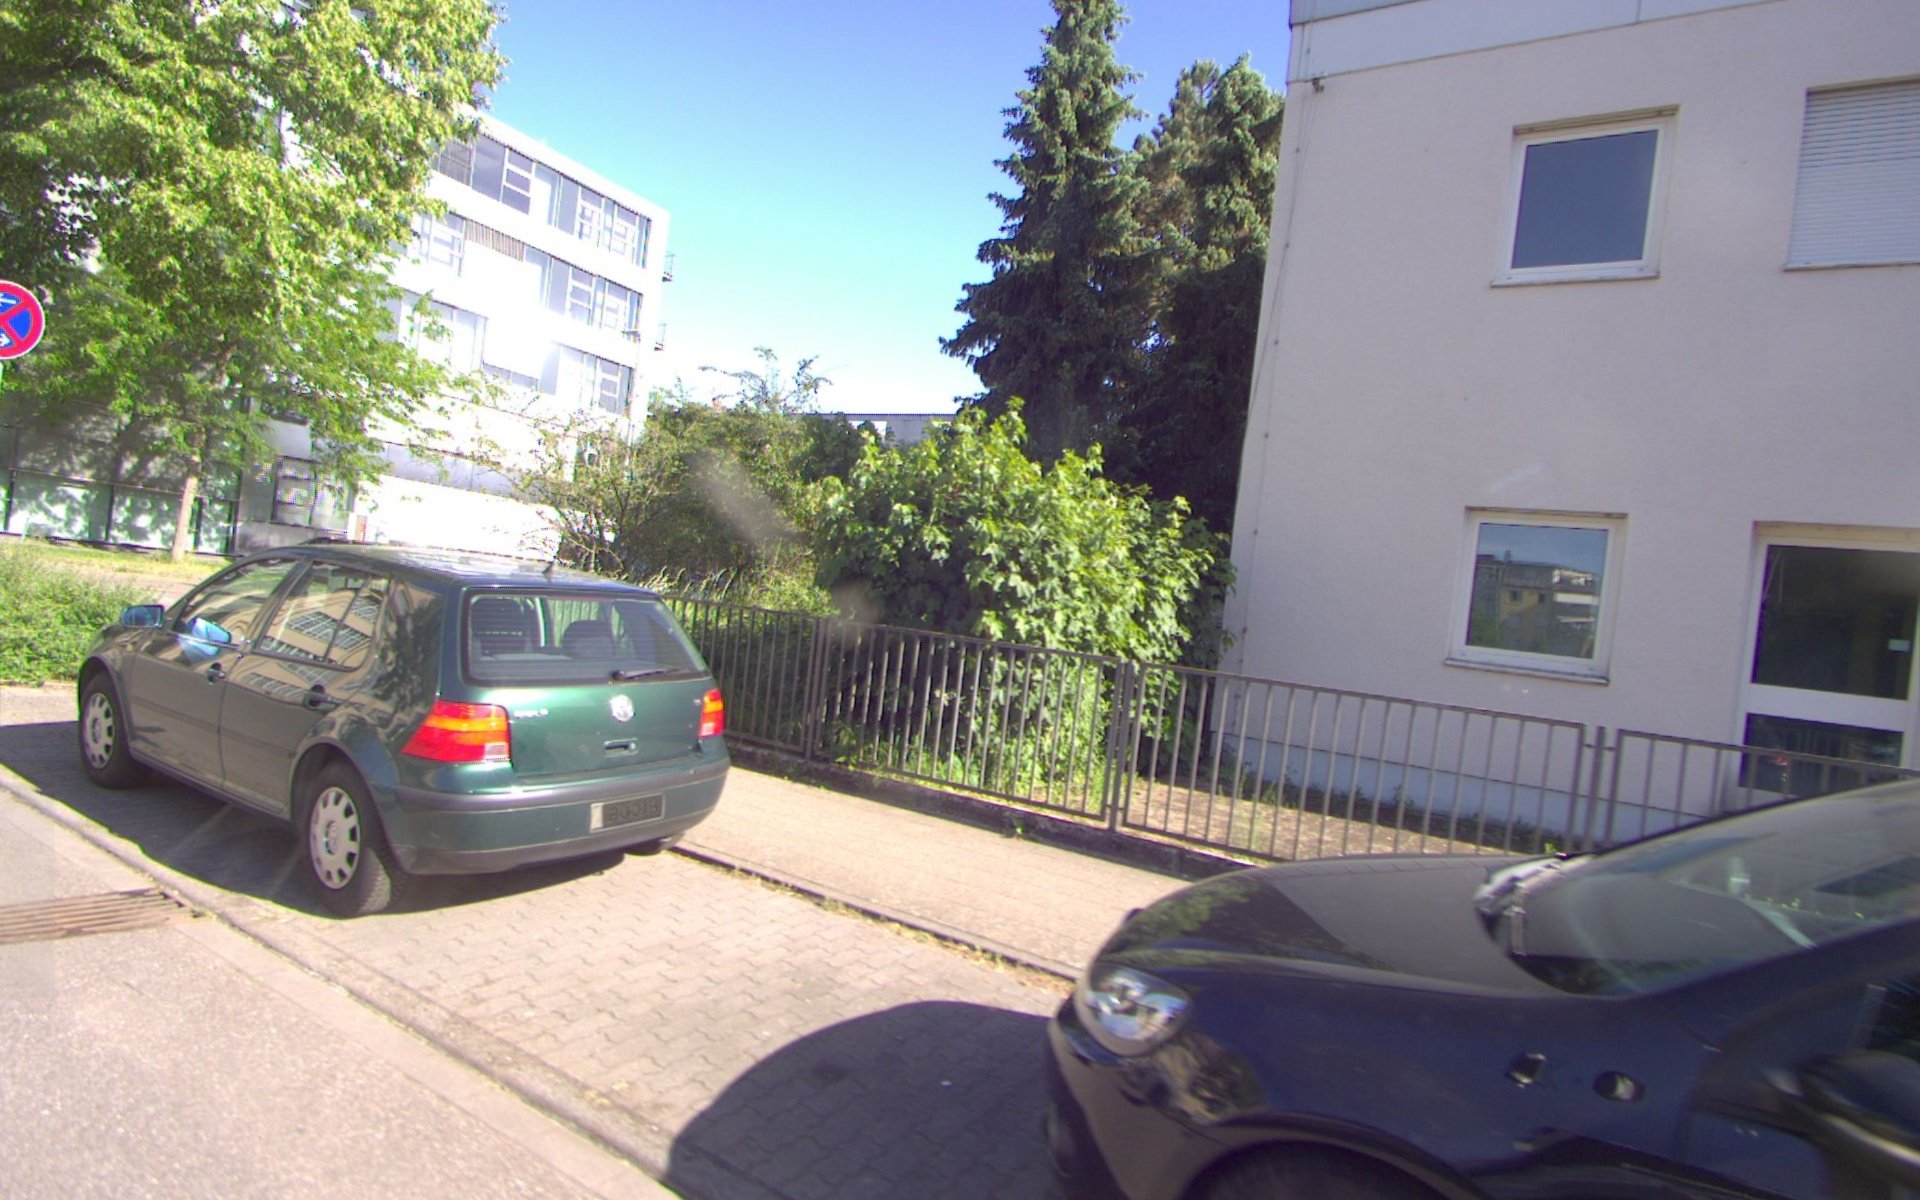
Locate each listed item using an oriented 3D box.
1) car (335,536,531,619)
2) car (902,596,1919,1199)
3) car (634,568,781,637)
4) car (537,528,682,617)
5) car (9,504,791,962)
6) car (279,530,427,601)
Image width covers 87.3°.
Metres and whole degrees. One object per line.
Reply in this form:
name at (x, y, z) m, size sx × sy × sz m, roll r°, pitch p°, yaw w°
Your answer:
car at (-12.467, -0.488, 24.031) m, size 1.630 × 1.490 × 3.758 m, roll 5°, pitch -2°, yaw 30°
car at (2.060, 1.024, 1.930) m, size 3.932 × 1.535 × 1.786 m, roll 7°, pitch 0°, yaw 30°
car at (-7.698, 0.129, 31.064) m, size 1.801 × 1.648 × 4.286 m, roll 5°, pitch -2°, yaw 31°
car at (-13.746, -1.090, 39.348) m, size 5.381 × 2.655 × 2.227 m, roll 9°, pitch 1°, yaw 32°
car at (-3.186, 0.410, 5.416) m, size 4.352 × 1.440 × 1.748 m, roll 6°, pitch 0°, yaw 32°
car at (-18.352, -1.057, 30.385) m, size 4.473 × 1.367 × 1.889 m, roll 10°, pitch 1°, yaw 31°
